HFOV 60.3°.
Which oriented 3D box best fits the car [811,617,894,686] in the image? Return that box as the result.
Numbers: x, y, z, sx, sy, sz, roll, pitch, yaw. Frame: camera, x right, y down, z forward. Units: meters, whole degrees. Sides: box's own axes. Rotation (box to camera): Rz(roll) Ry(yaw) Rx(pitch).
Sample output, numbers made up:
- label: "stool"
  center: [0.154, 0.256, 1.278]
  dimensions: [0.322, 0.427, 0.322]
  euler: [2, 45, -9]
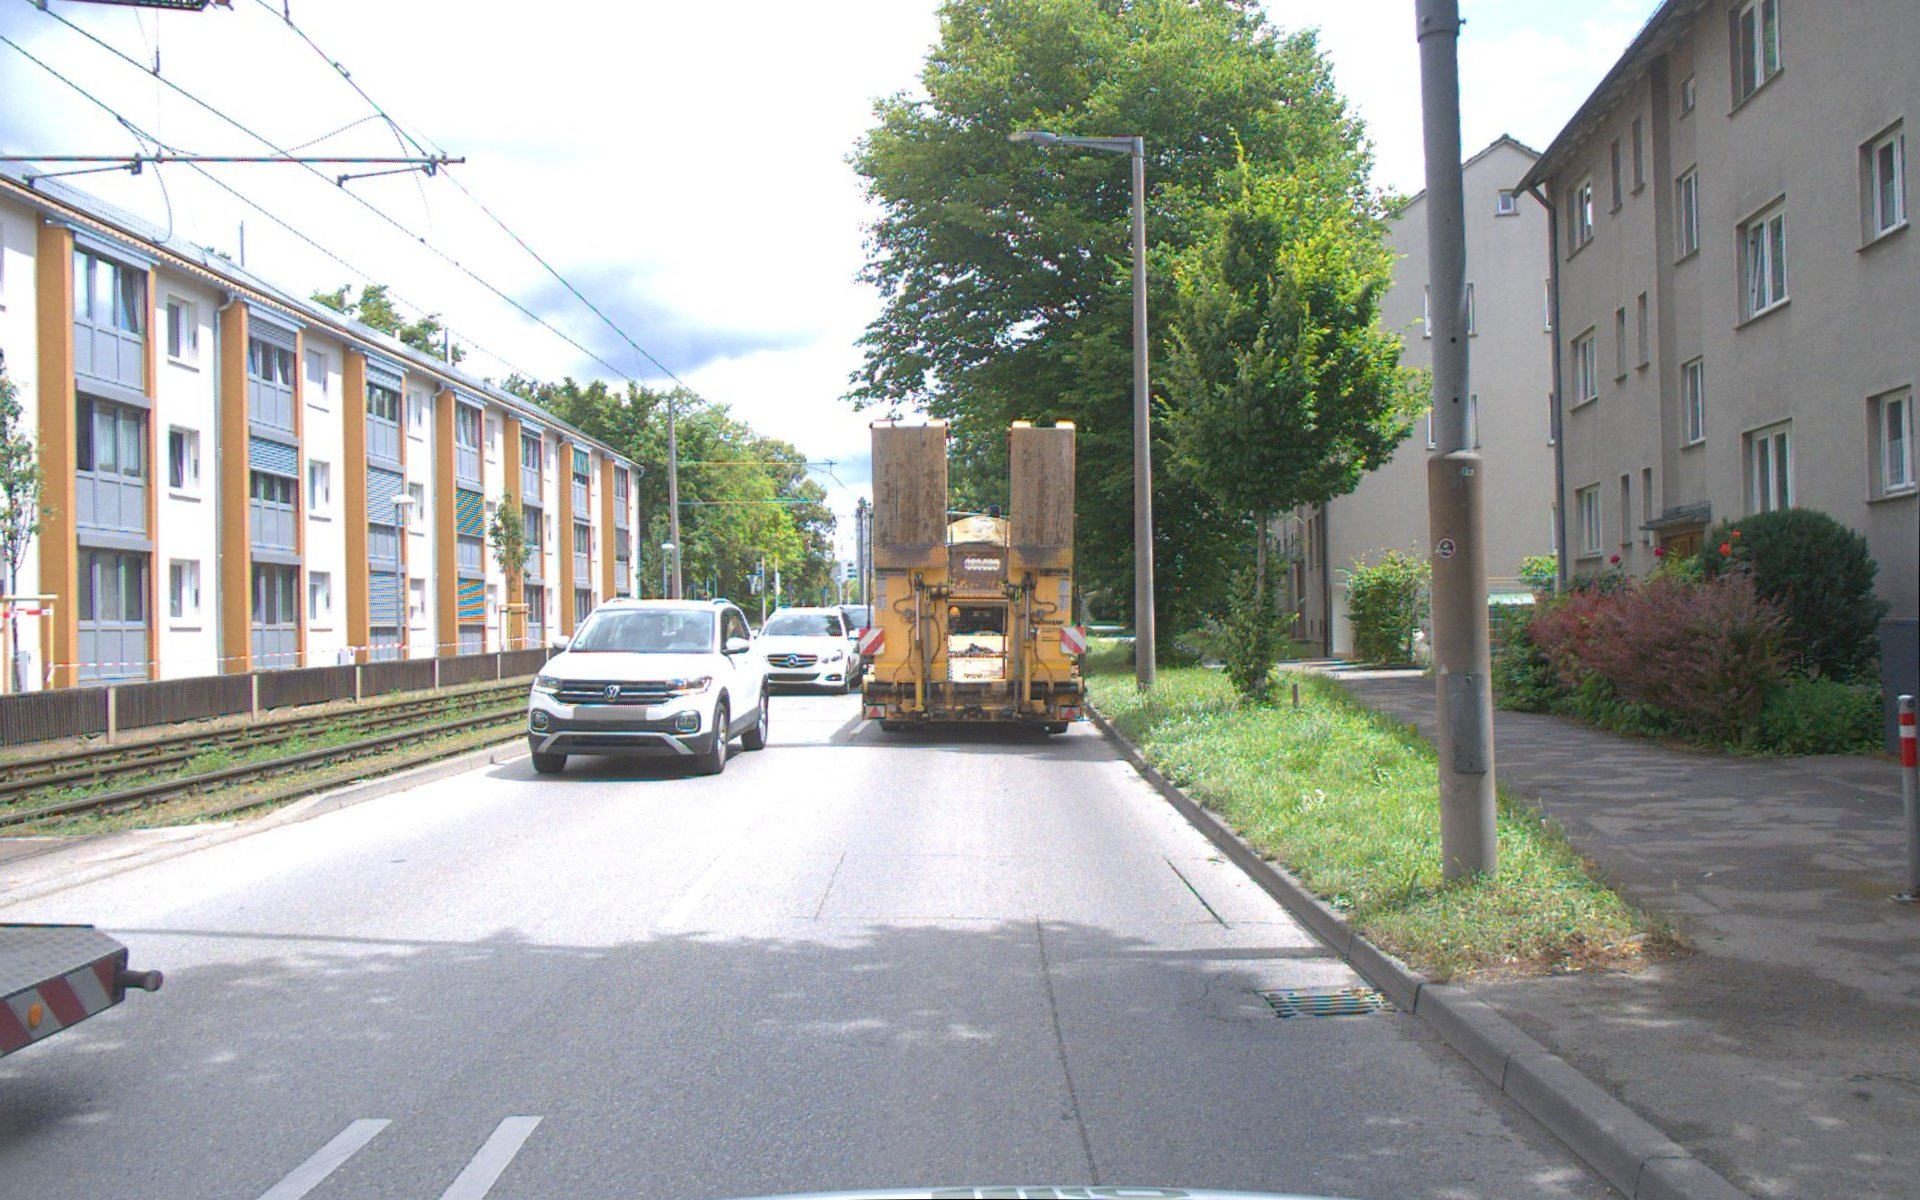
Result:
- label: "car"
  center: [-2.491, 1.179, 39.127]
  dimensions: [1.616, 1.547, 3.866]
  euler: [0, 0, 1]

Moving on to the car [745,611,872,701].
- label: "car"
  center: [-2.677, 0.962, 30.262]
  dimensions: [1.840, 1.507, 4.528]
  euler: [0, 0, 1]

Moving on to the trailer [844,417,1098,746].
- label: "trailer"
  center: [0.151, -0.160, 23.629]
  dimensions: [2.765, 3.586, 11.051]
  euler: [0, 0, 0]

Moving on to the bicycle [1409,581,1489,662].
- label: "bicycle"
  center: [10.023, 0.434, 33.957]
  dimensions: [1.319, 1.601, 1.072]
  euler: [-1, -1, 3]

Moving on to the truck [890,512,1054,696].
- label: "truck"
  center: [0.285, 0.098, 32.980]
  dimensions: [2.857, 3.223, 7.681]
  euler: [0, 0, 1]

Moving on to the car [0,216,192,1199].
- label: "car"
  center: [-3.373, 0.271, 1.976]
  dimensions: [1.953, 2.473, 6.321]
  euler: [0, 0, 0]

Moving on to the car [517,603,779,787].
- label: "car"
  center: [-2.906, 0.836, 16.222]
  dimensions: [1.682, 1.579, 3.918]
  euler: [0, -1, 2]
